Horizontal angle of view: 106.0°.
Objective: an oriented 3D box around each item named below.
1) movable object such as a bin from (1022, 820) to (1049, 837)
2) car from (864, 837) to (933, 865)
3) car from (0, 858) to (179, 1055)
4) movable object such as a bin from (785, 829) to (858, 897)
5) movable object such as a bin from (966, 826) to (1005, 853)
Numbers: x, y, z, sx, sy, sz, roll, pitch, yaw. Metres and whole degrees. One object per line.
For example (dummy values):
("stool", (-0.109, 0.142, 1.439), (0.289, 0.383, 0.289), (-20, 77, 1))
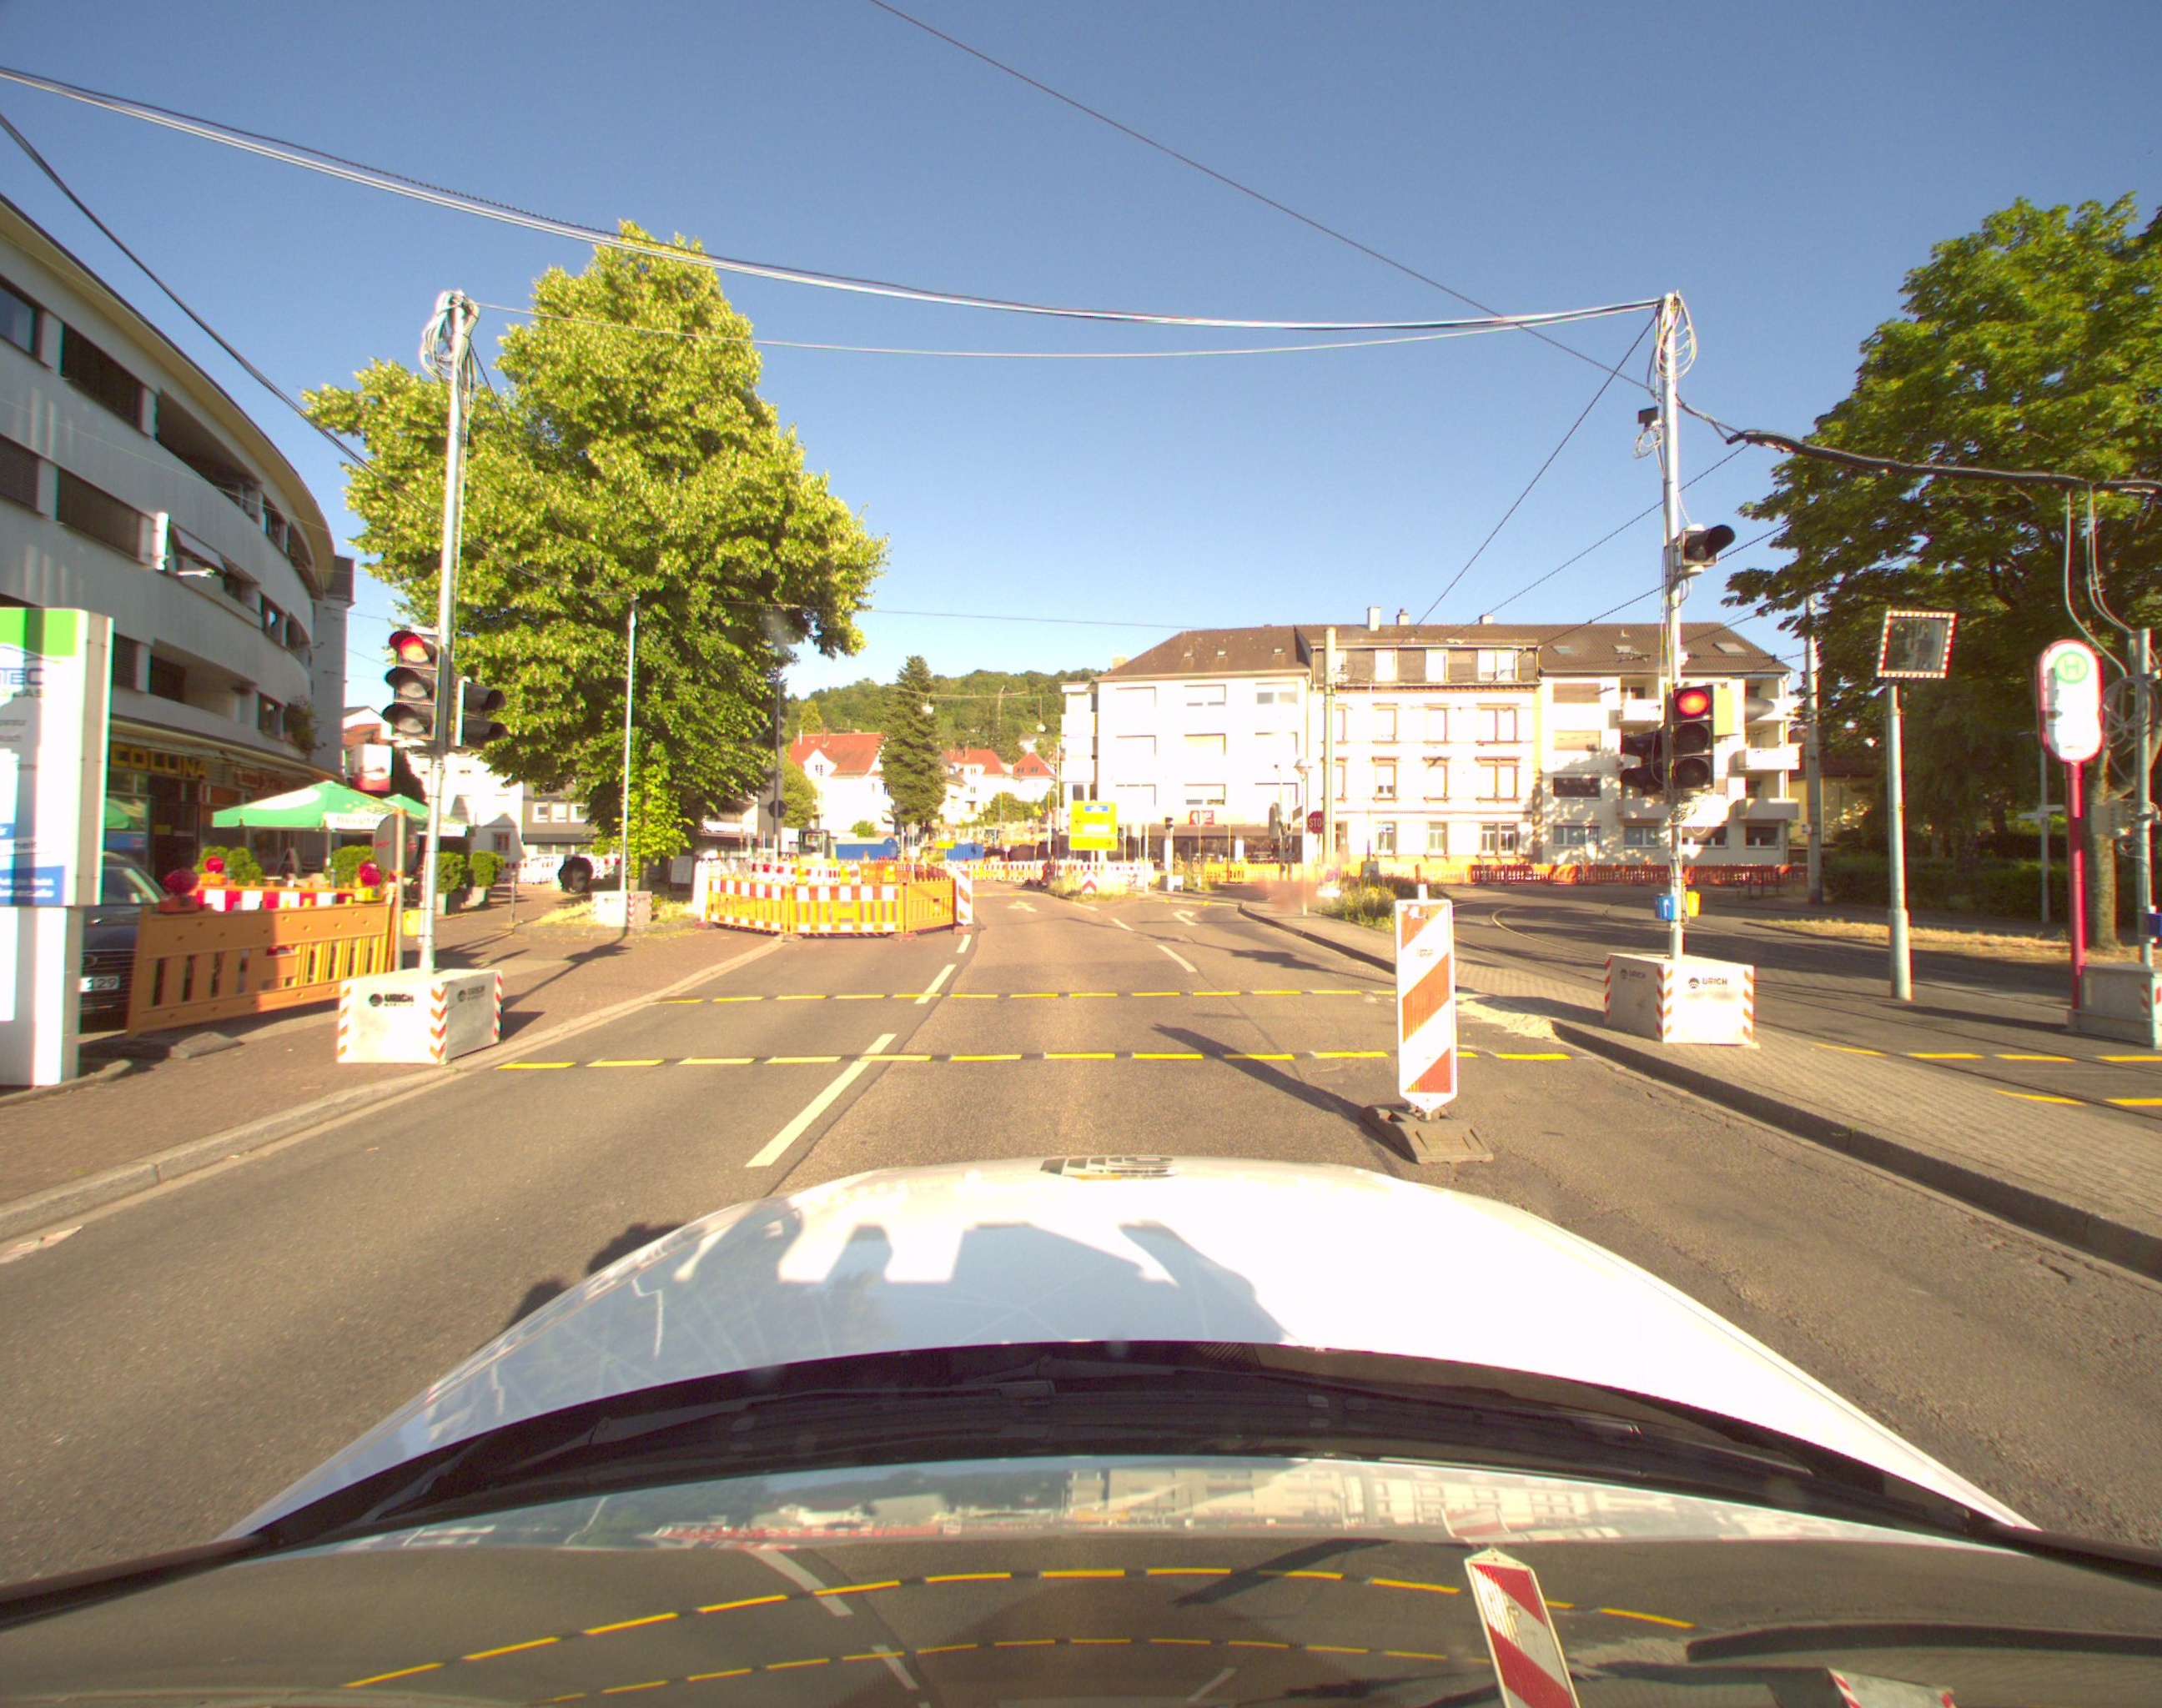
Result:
("movable object such as a bin", (-6.422, -3.600, 115.297), (2.549, 2.122, 5.801), (-1, -1, 11))
("car", (-14.878, -0.229, 66.688), (2.562, 2.121, 6.181), (-1, -1, 20))
("car", (-9.320, 0.782, 7.313), (3.835, 1.438, 1.606), (-1, 0, 42))
("movable object such as a bin", (-9.430, 0.301, 29.877), (1.643, 2.324, 3.916), (0, 0, -3))
("movable object such as a bin", (-9.243, -1.351, 79.397), (1.932, 2.494, 4.574), (-1, -1, 20))
